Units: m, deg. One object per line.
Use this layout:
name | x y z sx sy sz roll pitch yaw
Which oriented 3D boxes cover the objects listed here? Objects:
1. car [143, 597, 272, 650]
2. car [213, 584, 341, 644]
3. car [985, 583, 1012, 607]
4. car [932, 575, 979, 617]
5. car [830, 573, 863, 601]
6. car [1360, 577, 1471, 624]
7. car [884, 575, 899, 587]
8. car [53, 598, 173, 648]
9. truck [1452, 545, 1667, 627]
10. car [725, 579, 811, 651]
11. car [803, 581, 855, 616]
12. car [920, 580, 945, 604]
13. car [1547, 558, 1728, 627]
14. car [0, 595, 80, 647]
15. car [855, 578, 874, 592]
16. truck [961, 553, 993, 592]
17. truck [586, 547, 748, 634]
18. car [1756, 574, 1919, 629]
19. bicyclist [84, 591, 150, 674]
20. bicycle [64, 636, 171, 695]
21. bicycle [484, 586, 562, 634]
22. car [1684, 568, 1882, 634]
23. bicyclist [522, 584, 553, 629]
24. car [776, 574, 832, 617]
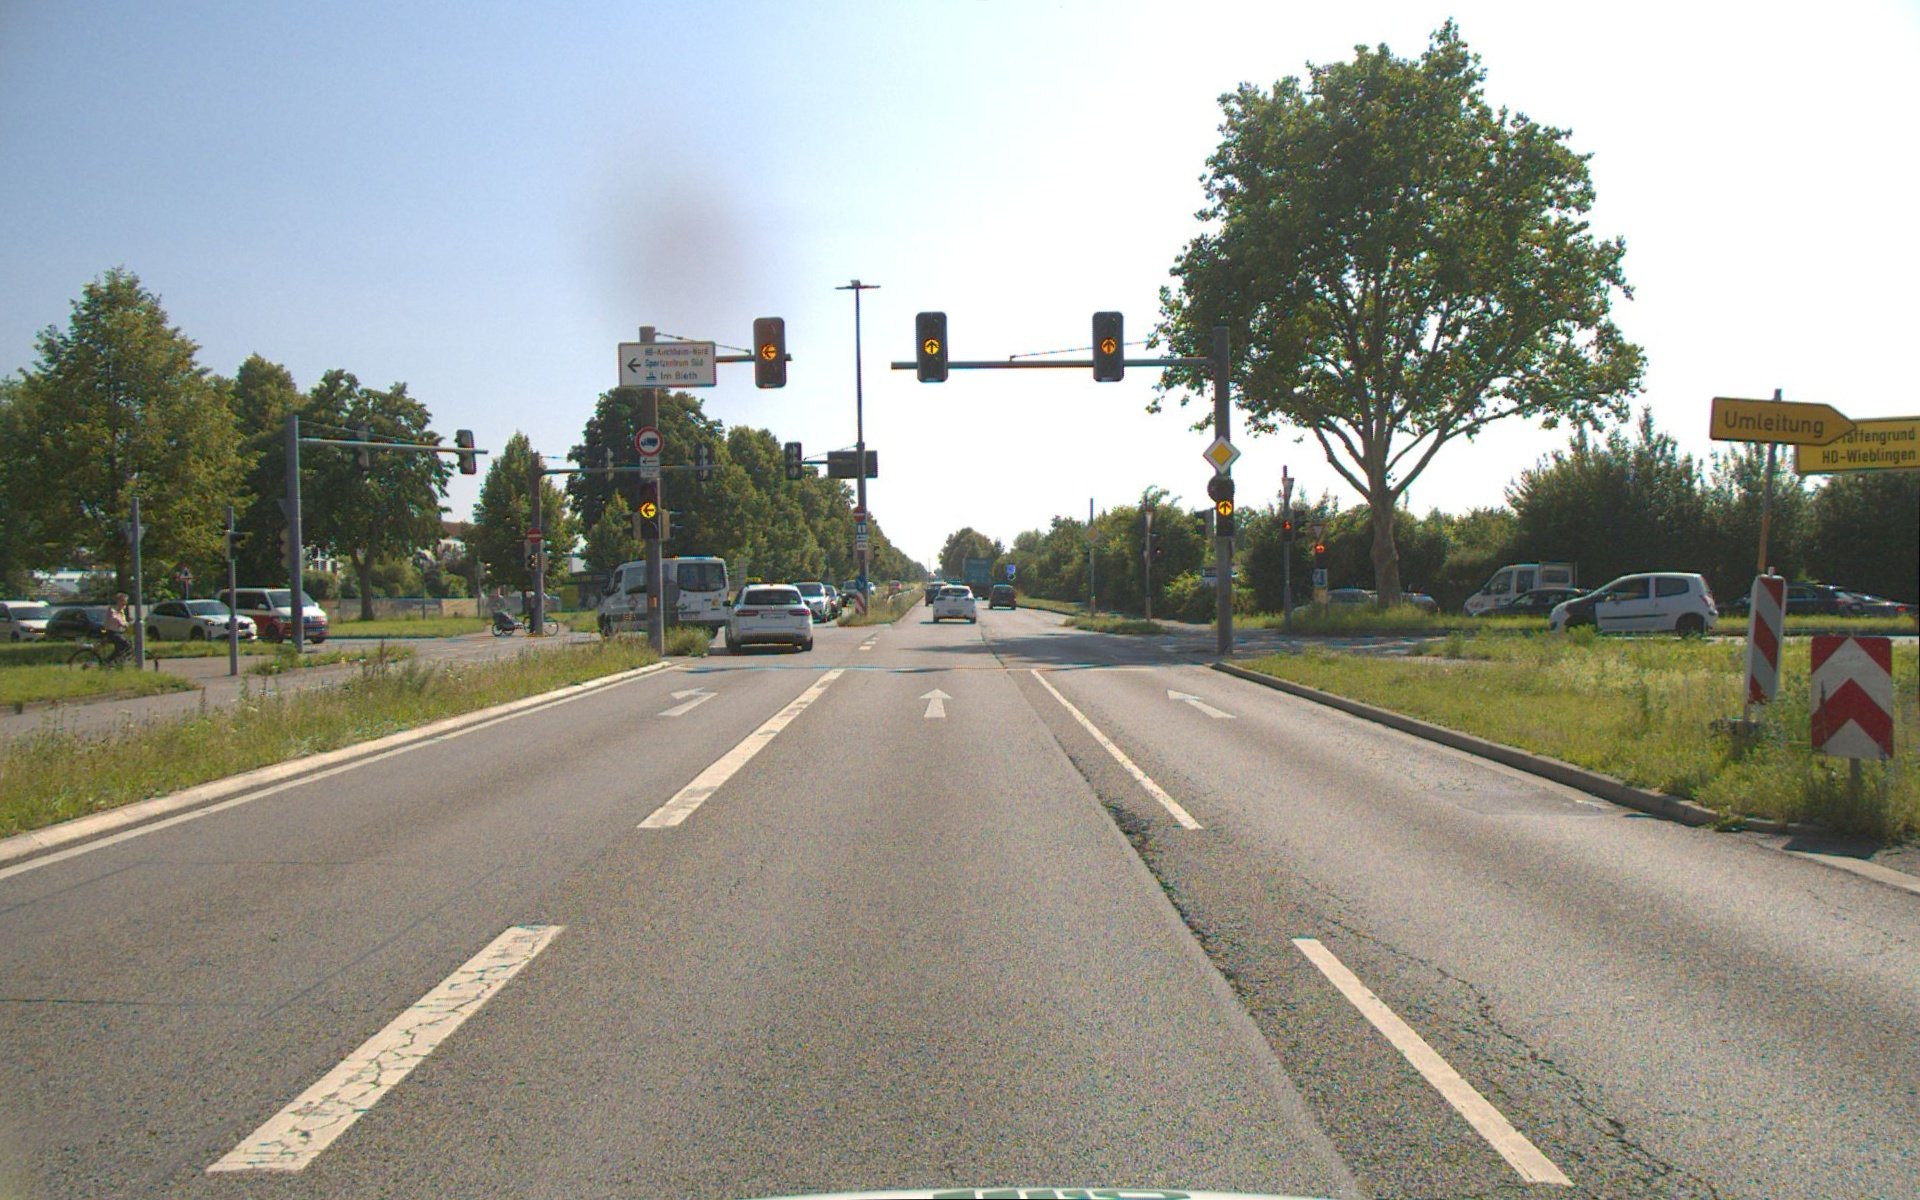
car | -24.817 0.774 54.519 4.181 1.634 1.998 -1 1 35
car | -23.938 0.488 57.910 4.560 1.984 1.994 -1 1 35
car | 2.316 -0.305 99.956 1.540 1.439 3.277 0 0 0
car | -0.159 -0.184 64.992 1.762 1.580 4.001 0 1 0
car | -7.093 -0.828 103.903 1.809 1.622 4.616 -1 1 -1
car | 16.056 0.015 58.456 1.599 1.574 3.785 1 -1 -30
car | -9.102 -2.580 220.417 1.874 1.528 4.090 -1 1 -2
car | -29.686 0.808 57.963 4.181 1.634 1.998 -1 1 35
truck | 19.135 -0.424 53.128 2.316 2.428 6.401 2 -1 -33
car | -4.386 0.303 37.832 1.778 1.490 4.963 -2 1 -7
car | -5.870 -0.078 74.673 1.779 1.511 4.895 0 1 2
car | -1.748 -0.526 106.023 1.540 1.439 3.277 -1 1 0
car | 15.243 -0.164 37.216 3.669 1.495 1.784 0 1 25
car | -35.139 0.790 62.005 4.415 1.832 1.998 -1 1 35
car | -10.907 -1.750 189.345 1.953 1.528 4.090 -1 1 -2
truck | 1.543 -2.570 154.571 2.833 3.488 9.169 -1 1 0
truck | -8.923 -0.304 49.856 2.356 2.430 5.960 -2 1 -37
car | 24.708 0.056 46.373 1.872 1.445 3.943 1 -1 -39
bicyclist | -15.922 0.602 31.261 0.829 1.544 0.747 0 1 5
bicycle | -15.921 1.228 31.272 1.640 1.059 0.747 0 1 5
bicycle | -16.358 0.377 61.847 2.737 1.699 1.135 -1 1 27
car | 22.052 0.011 44.448 1.868 1.663 4.406 1 0 -39
bicyclist | -15.688 0.242 61.419 0.845 1.647 0.757 0 0 27
car | -6.366 -0.192 67.838 1.969 1.638 4.210 -1 0 -1
